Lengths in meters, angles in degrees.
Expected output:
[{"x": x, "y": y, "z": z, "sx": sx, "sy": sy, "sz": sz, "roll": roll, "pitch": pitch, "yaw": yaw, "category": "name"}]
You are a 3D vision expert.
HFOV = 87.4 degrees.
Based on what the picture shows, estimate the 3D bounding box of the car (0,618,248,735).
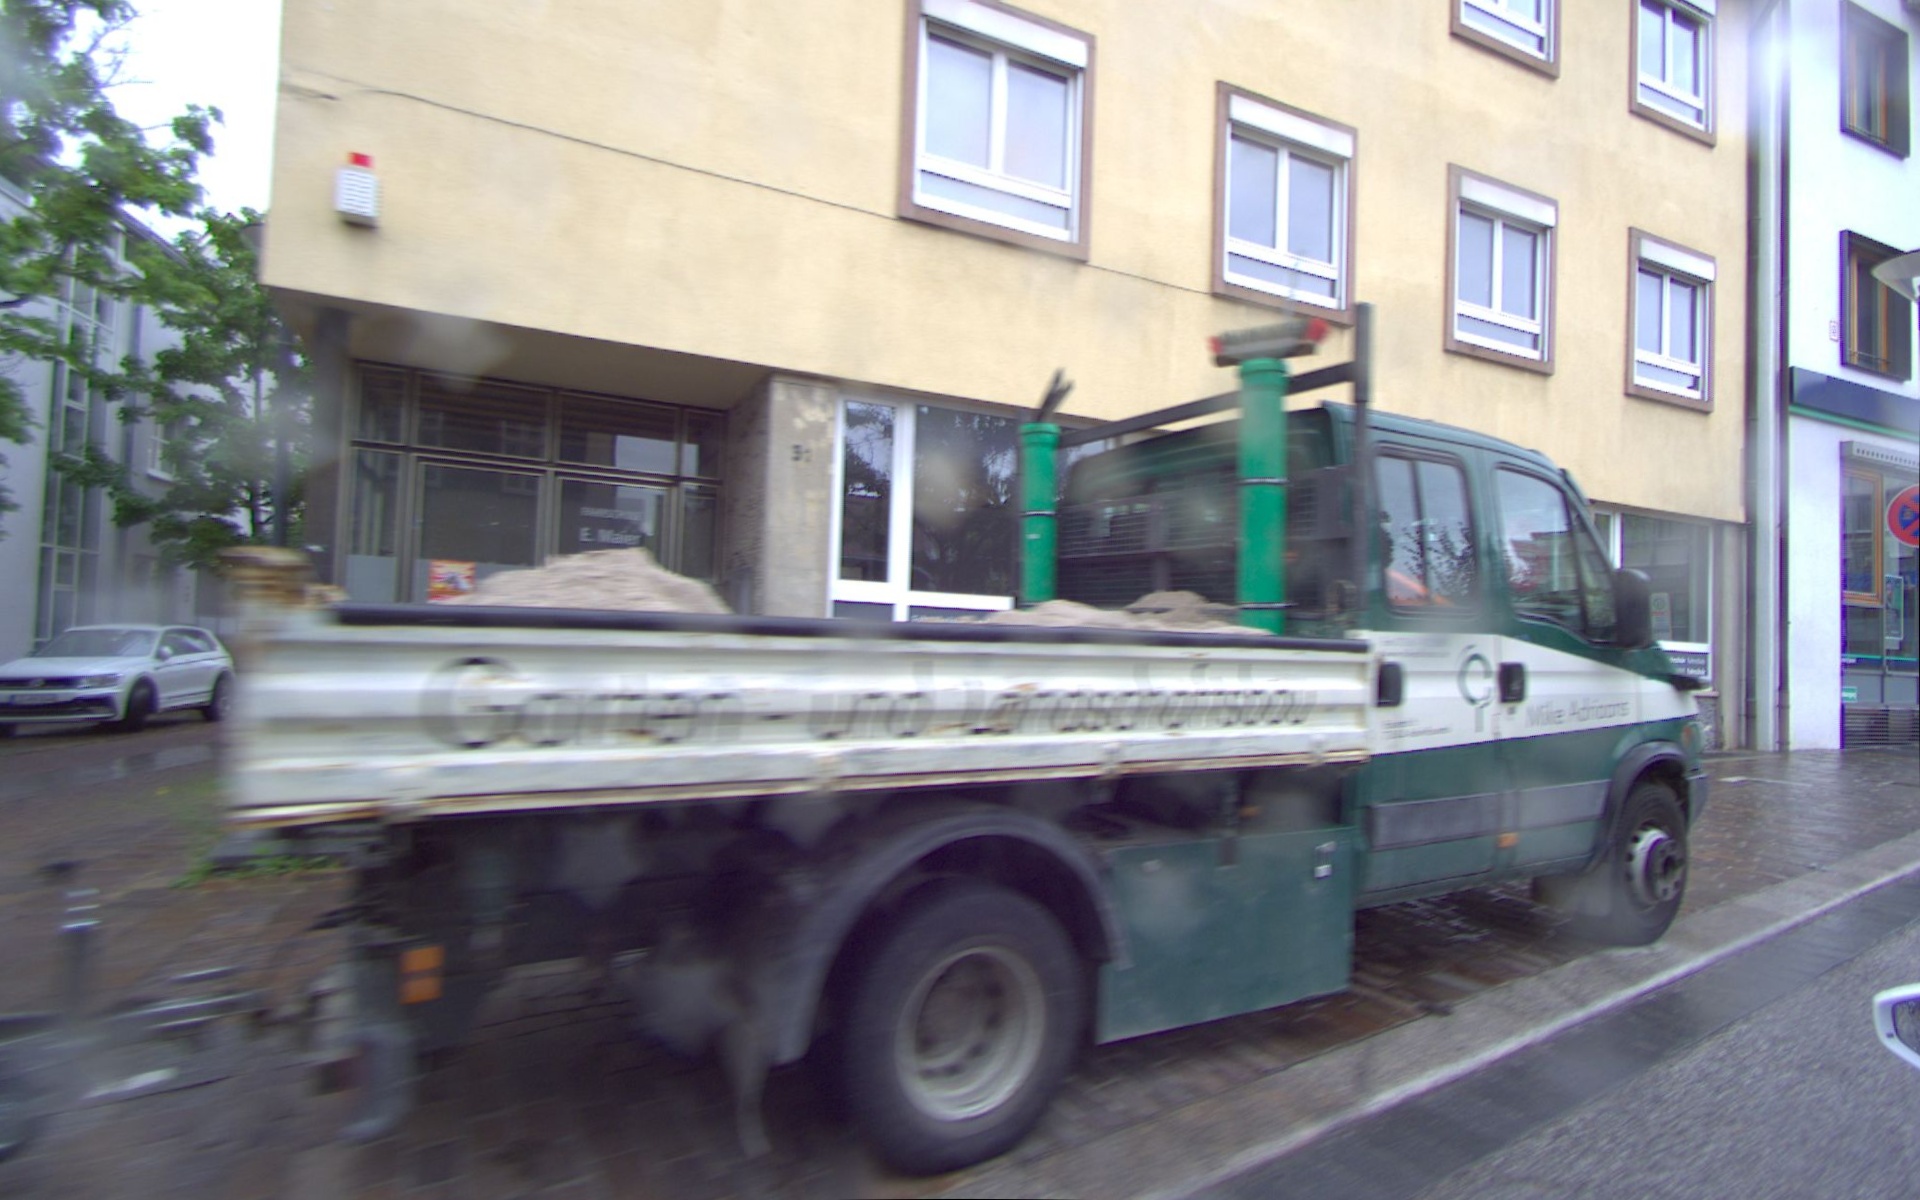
[{"x": -13.158, "y": 1.158, "z": 15.715, "sx": 1.899, "sy": 1.587, "sz": 3.990, "roll": 2, "pitch": -3, "yaw": -14, "category": "car"}]

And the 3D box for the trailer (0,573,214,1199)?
[{"x": -3.328, "y": 0.641, "z": 1.711, "sx": 3.125, "sy": 1.364, "sz": 1.719, "roll": 1, "pitch": -3, "yaw": -32, "category": "trailer"}]

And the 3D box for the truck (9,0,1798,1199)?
[{"x": 0.724, "y": 0.052, "z": 4.303, "sx": 6.526, "sy": 2.831, "sz": 2.460, "roll": 1, "pitch": -3, "yaw": -32, "category": "truck"}]
